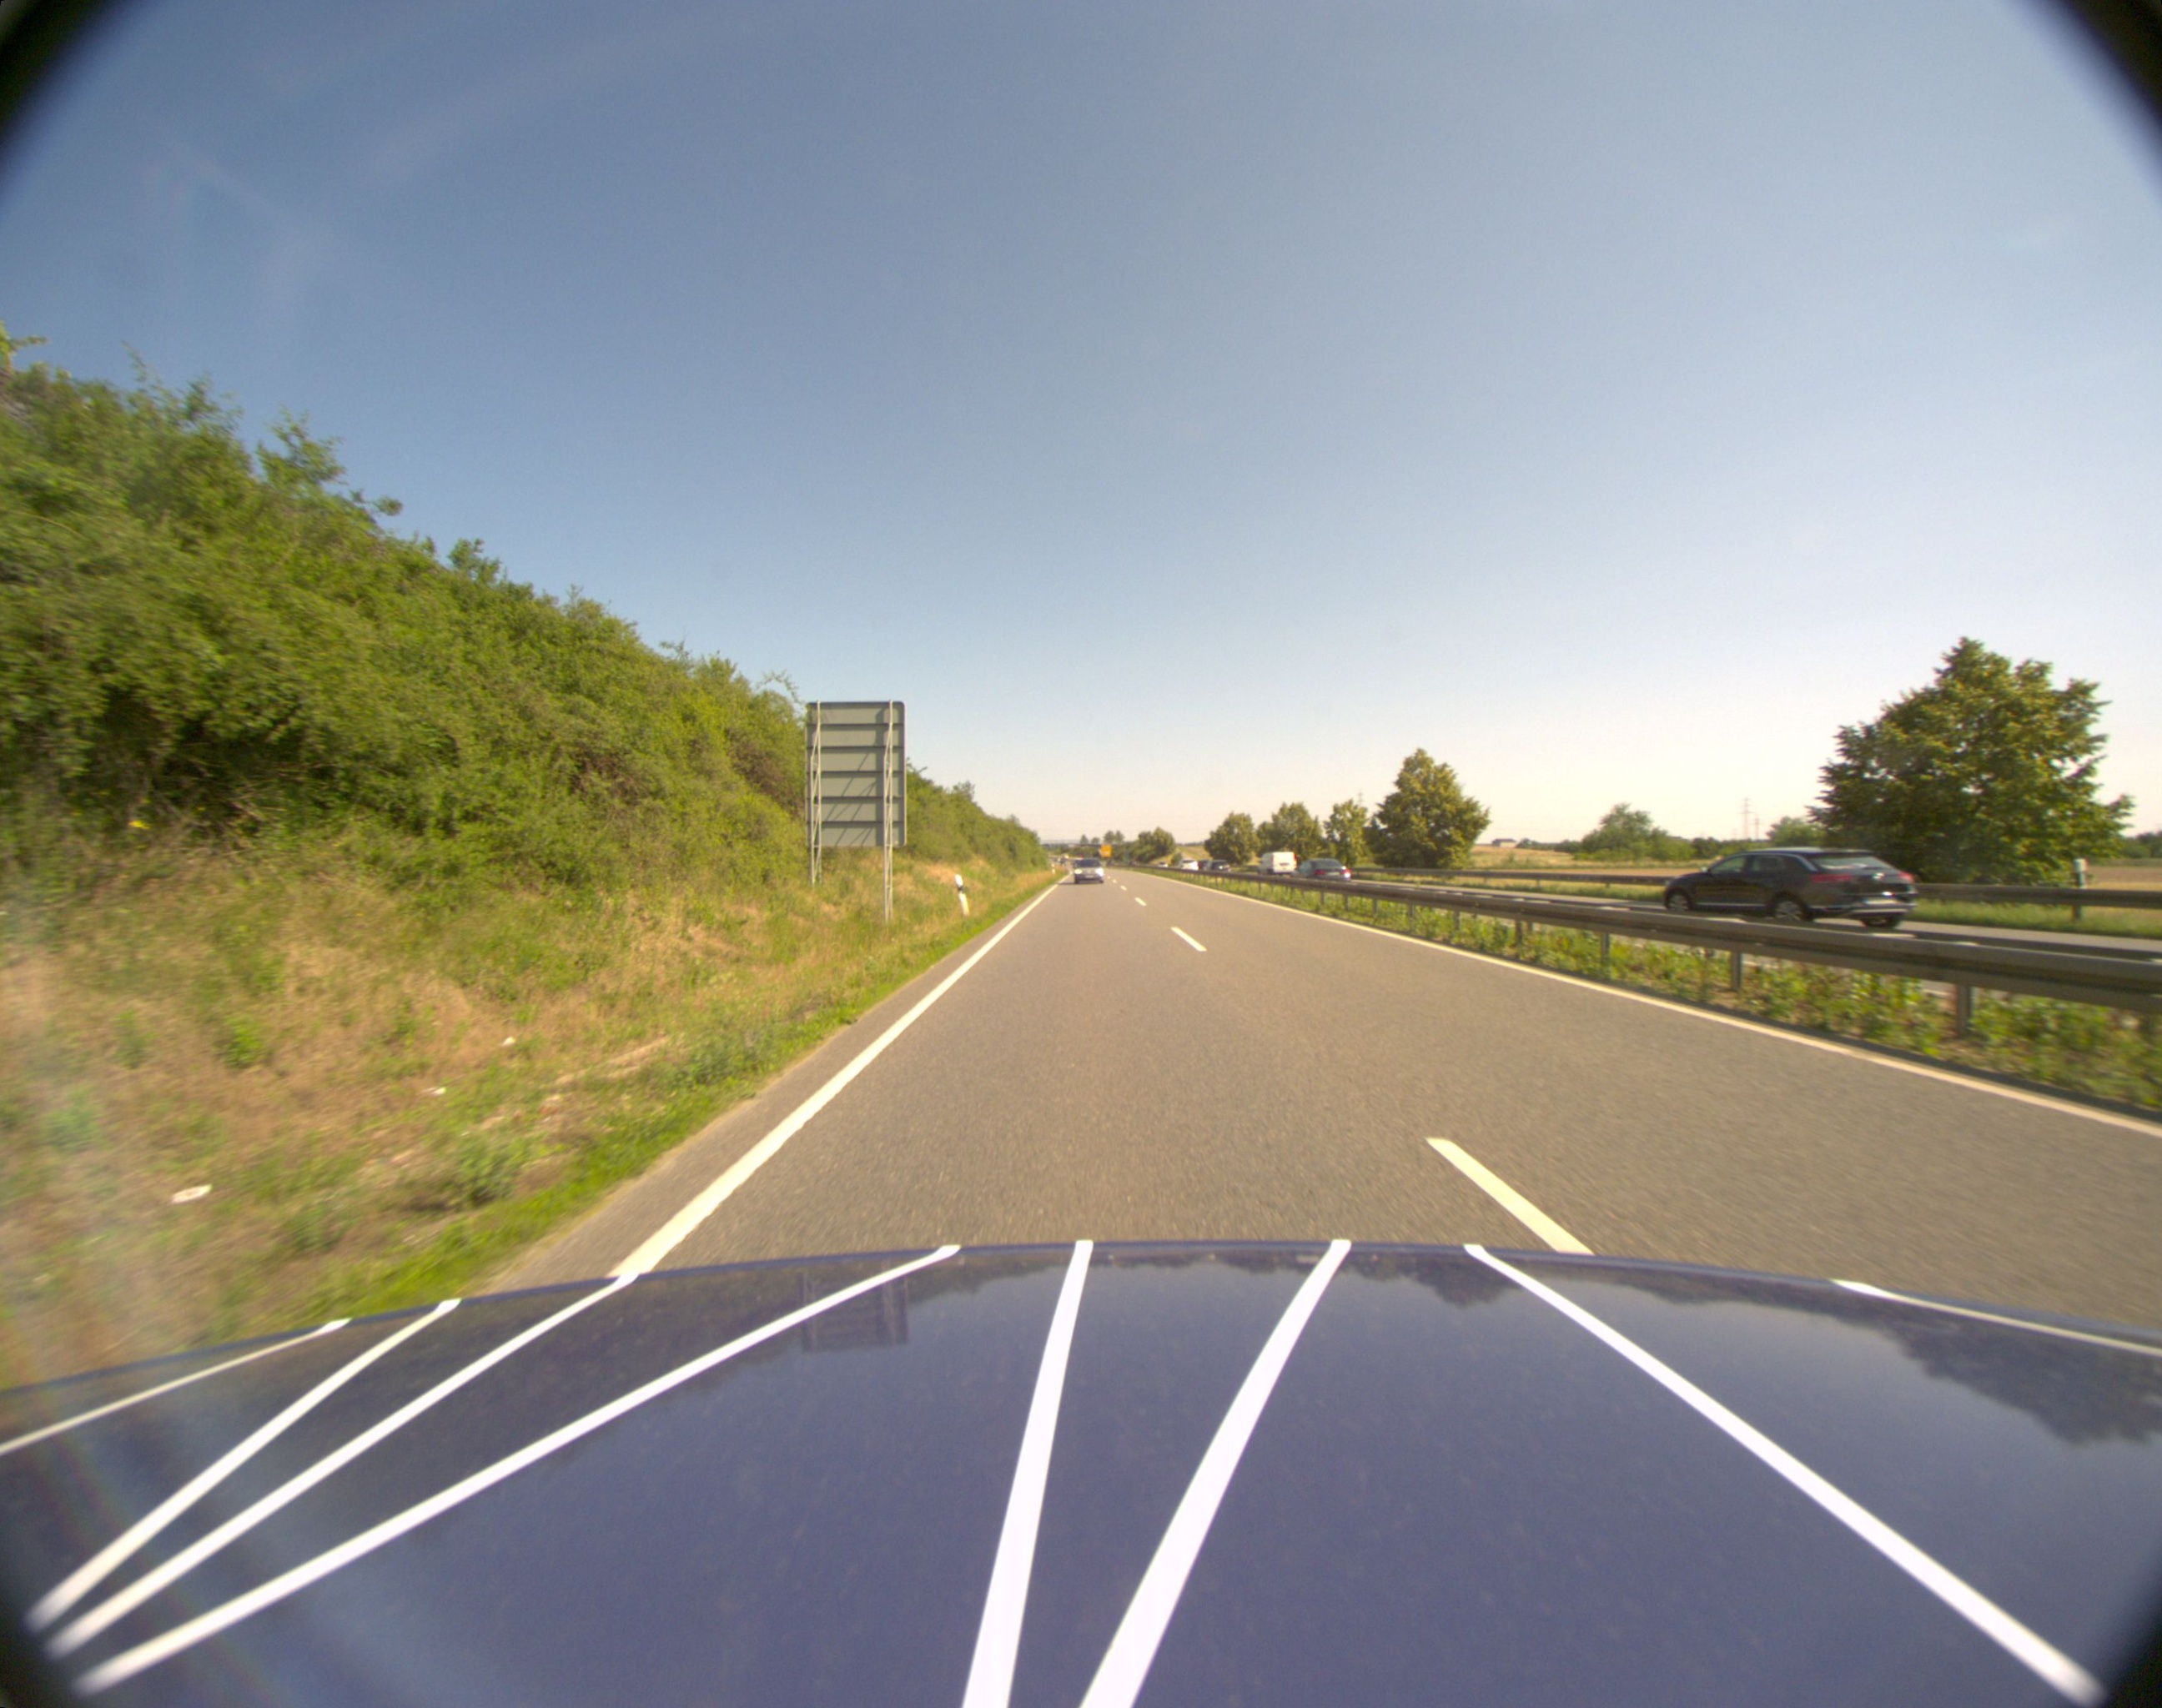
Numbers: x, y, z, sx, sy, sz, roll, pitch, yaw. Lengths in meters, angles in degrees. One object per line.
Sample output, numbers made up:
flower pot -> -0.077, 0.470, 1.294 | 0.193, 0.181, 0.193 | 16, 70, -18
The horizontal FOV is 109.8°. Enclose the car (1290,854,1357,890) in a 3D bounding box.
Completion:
car -> 11.138, 0.773, 35.213 | 1.817, 1.533, 4.454 | -1, 0, 2

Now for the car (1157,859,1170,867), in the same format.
car -> 14.676, 1.622, 135.159 | 1.695, 1.428, 3.939 | -1, 0, -2

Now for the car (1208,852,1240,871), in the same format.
car -> 11.610, 0.595, 62.038 | 1.843, 1.438, 4.038 | -3, -1, 1

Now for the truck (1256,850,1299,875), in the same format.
truck -> 14.937, 0.652, 58.016 | 1.927, 1.829, 5.292 | -2, -1, 1

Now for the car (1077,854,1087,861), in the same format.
car -> 0.156, 0.620, 132.327 | 1.790, 1.212, 3.999 | -1, 1, 1

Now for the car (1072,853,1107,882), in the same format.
car -> 0.577, 0.796, 47.285 | 1.854, 1.635, 4.000 | -2, 1, 4

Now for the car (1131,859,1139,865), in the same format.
car -> 13.002, 1.934, 182.917 | 1.694, 1.532, 4.244 | -1, 0, 2

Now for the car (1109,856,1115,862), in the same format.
car -> 9.083, 1.396, 221.740 | 1.656, 1.544, 4.561 | -3, 0, 0

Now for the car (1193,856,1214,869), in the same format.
car -> 15.217, 1.052, 94.693 | 1.843, 1.463, 4.459 | -1, 0, 1

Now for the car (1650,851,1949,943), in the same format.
car -> 13.894, 0.727, 15.164 | 1.817, 1.533, 4.453 | -1, 0, 1

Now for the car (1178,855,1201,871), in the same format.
car -> 11.679, 0.973, 82.224 | 1.843, 1.655, 4.721 | -2, 0, 1
